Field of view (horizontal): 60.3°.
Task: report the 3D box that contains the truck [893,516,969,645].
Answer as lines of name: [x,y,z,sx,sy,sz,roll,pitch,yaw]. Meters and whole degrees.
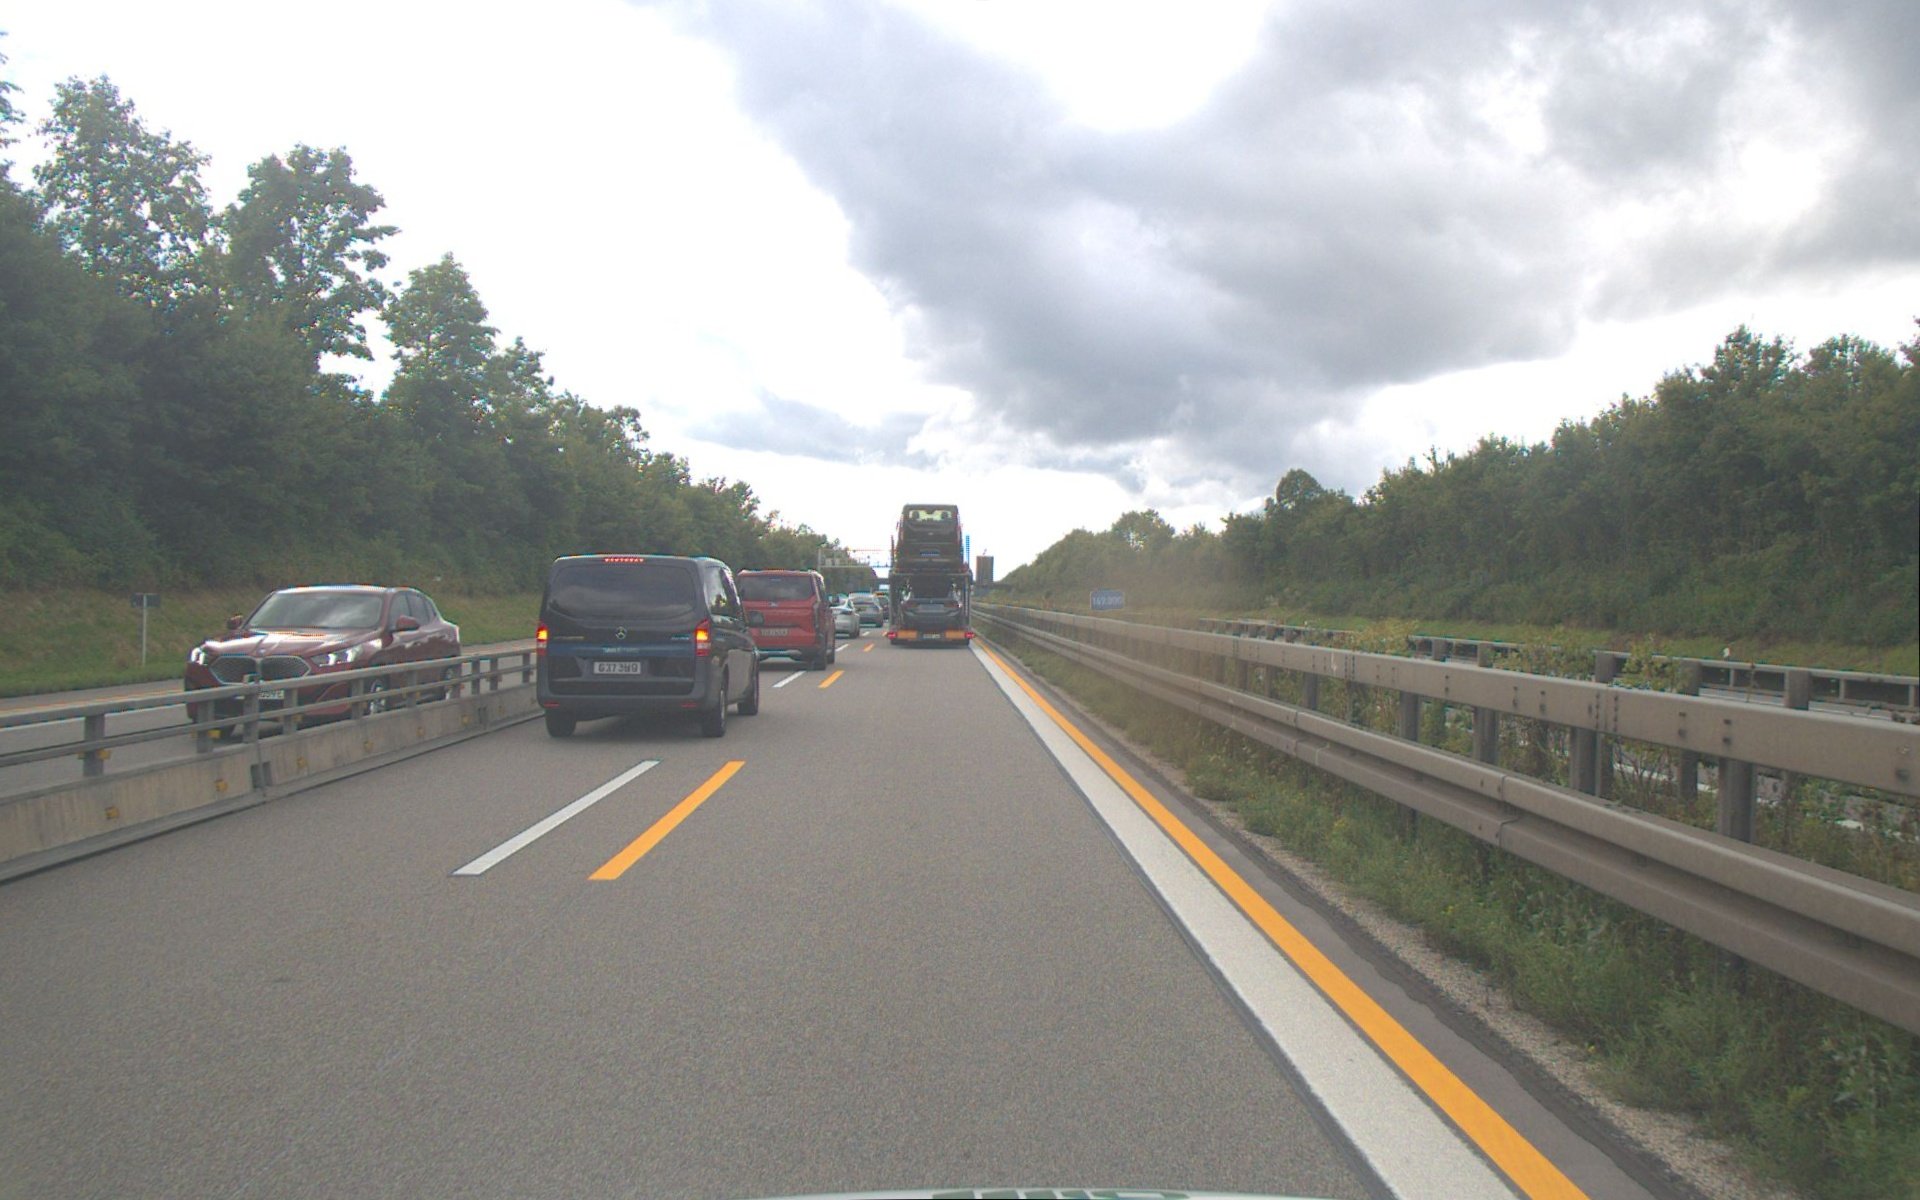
truck: [-0.964,-0.623,56.628,2.464,4.177,5.684,0,0,-1]

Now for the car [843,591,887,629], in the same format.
car: [-4.530,0.457,79.758,1.990,1.788,4.576,0,0,-2]

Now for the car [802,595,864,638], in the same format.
car: [-4.485,0.564,59.116,1.990,1.456,4.576,0,0,-2]

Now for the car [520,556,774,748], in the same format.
car: [-3.396,0.511,19.097,1.953,1.875,5.608,0,0,-1]

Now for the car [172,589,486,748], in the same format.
car: [-6.842,0.661,18.518,1.895,1.517,4.586,1,0,-3]

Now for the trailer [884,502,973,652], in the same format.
trailer: [-0.939,-0.633,51.880,2.464,4.177,11.111,0,0,-1]

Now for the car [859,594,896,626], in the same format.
car: [-4.654,0.545,93.610,1.990,1.788,4.576,0,0,-2]

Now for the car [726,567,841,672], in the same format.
car: [-3.599,0.381,34.484,1.990,2.049,4.577,0,0,-1]

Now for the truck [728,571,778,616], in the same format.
truck: [-13.198,-0.385,105.694,2.439,2.765,6.666,0,0,-1]
